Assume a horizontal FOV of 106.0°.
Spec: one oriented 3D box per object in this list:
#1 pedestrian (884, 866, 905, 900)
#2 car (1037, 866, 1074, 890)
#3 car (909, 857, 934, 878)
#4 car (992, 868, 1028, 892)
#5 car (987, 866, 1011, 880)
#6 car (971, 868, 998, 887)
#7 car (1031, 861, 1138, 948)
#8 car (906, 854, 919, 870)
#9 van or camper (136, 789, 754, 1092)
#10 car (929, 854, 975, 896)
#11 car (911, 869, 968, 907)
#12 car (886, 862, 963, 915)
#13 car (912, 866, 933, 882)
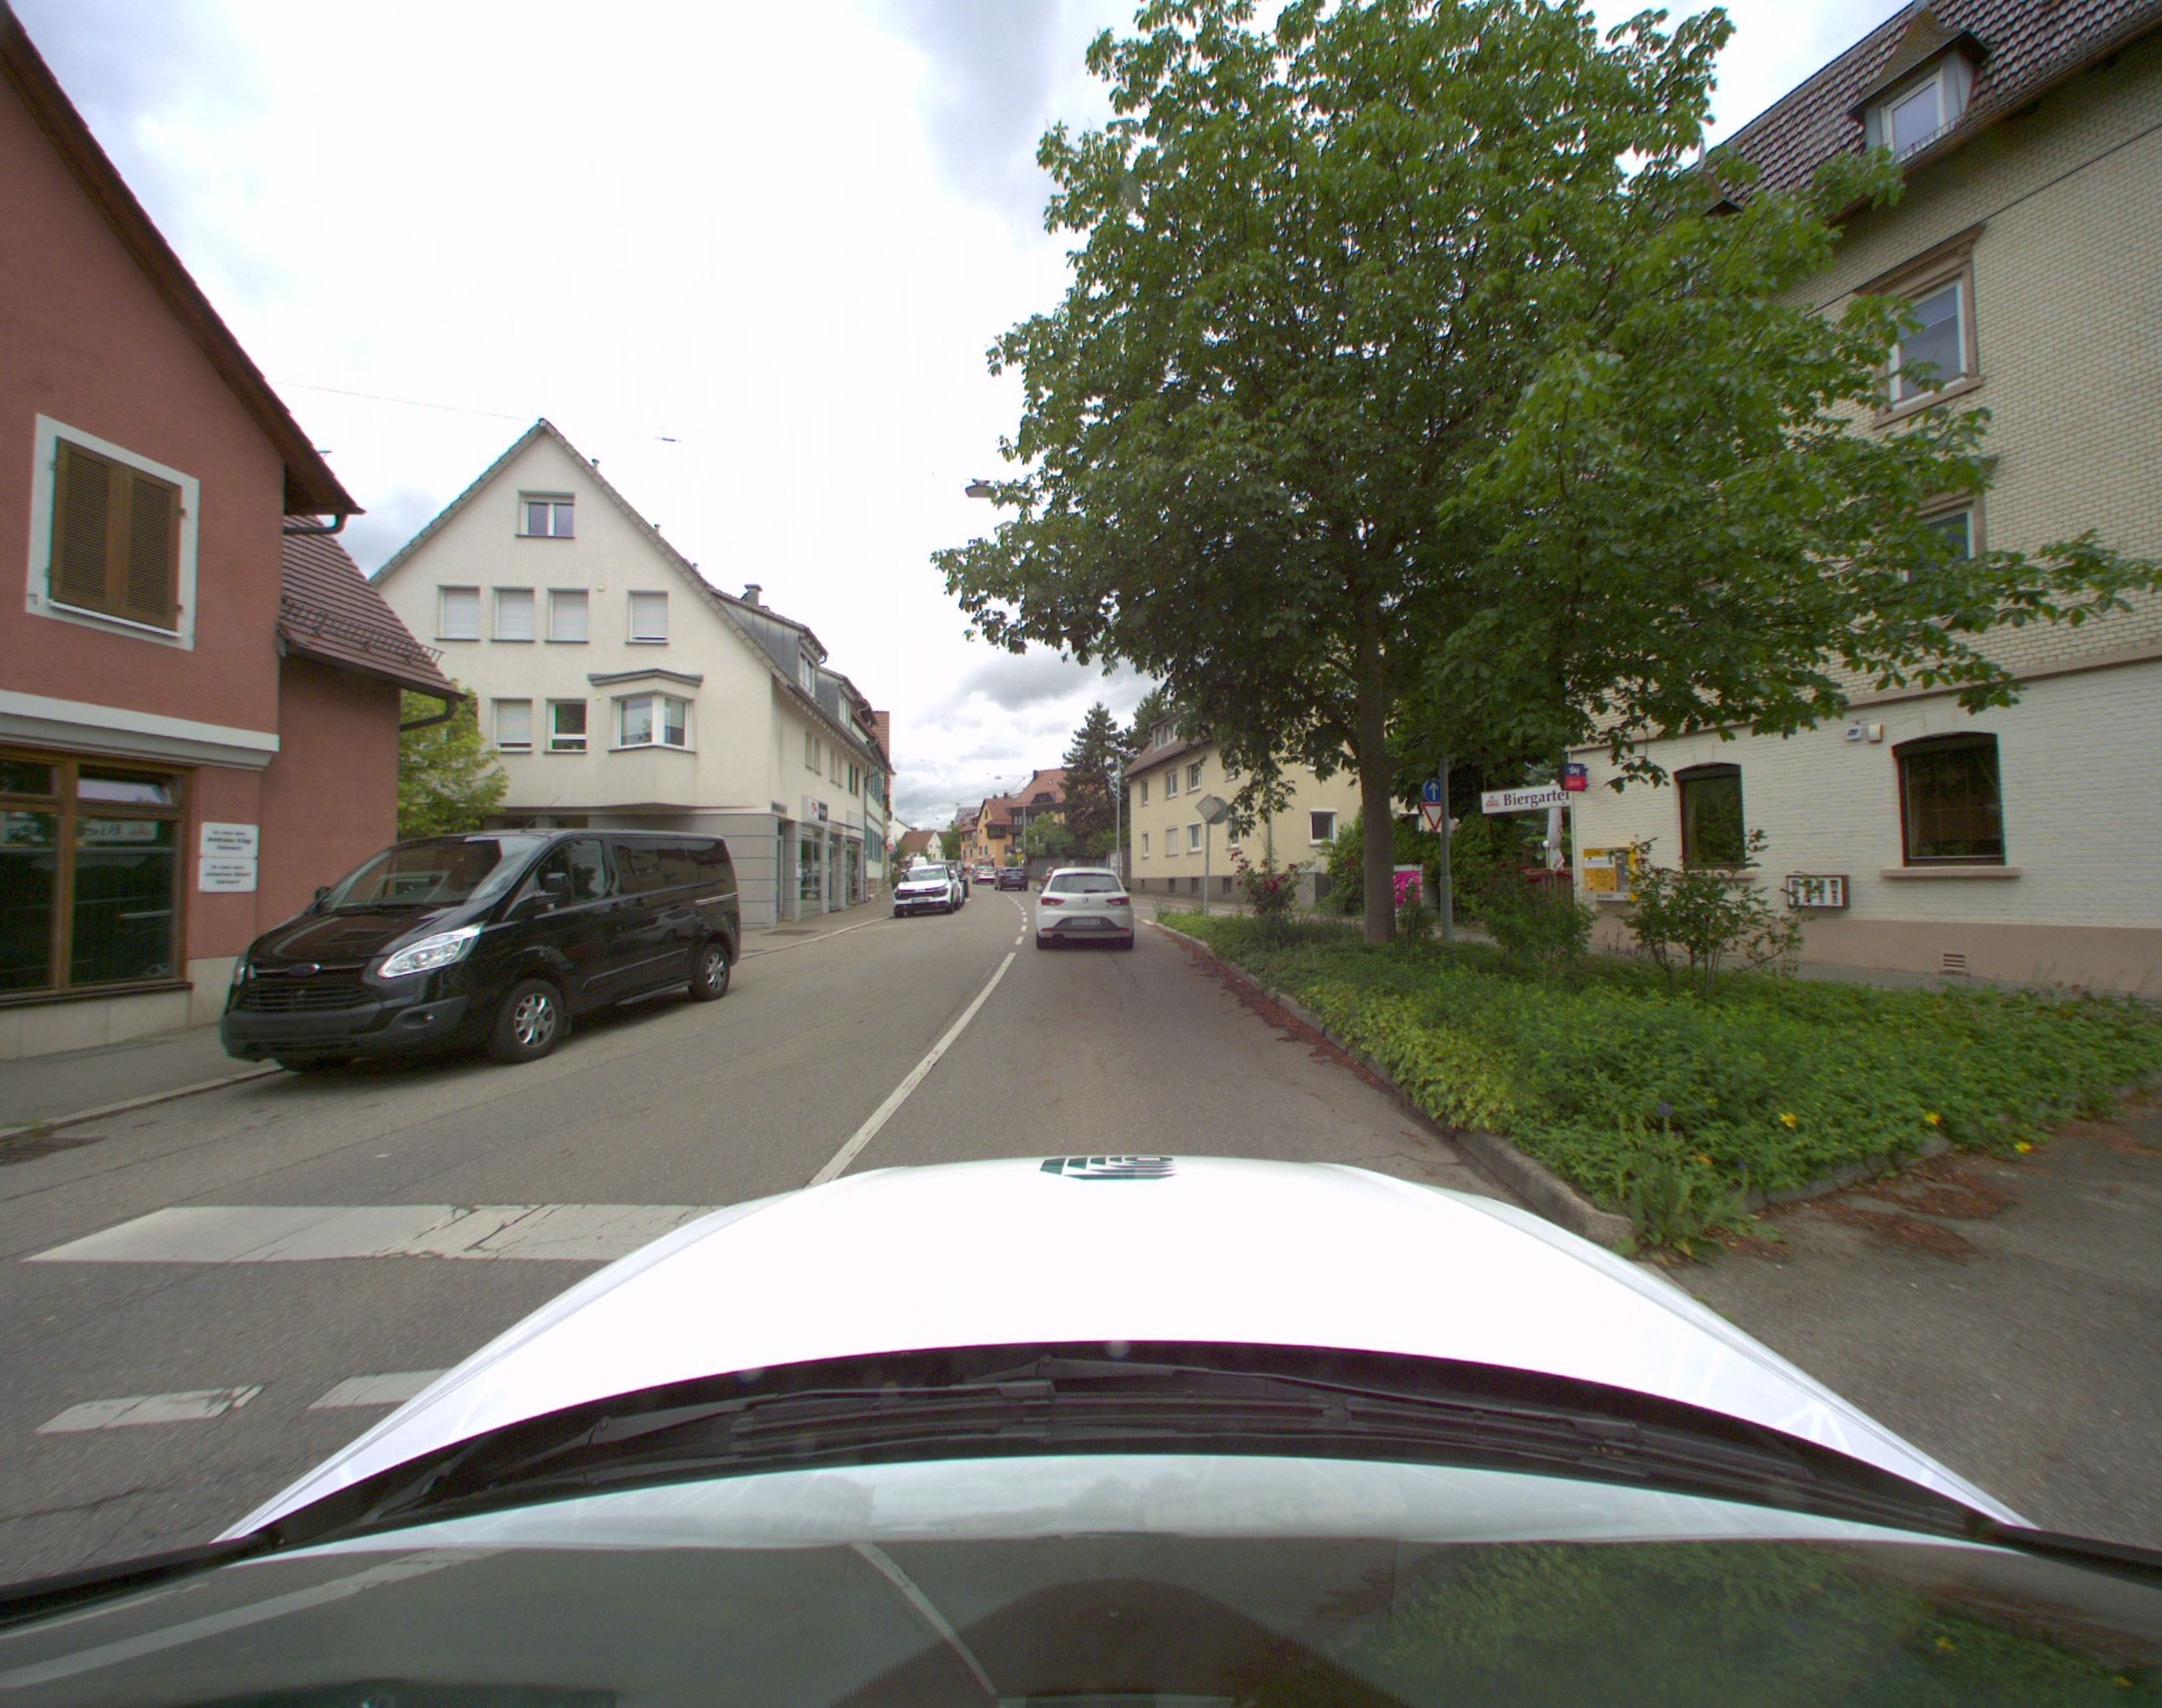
[{"bbox_3d":[-8.493,1.328,37.169,0.805,1.500,0.973,2,-2,-7],"label":"pedestrian"},{"bbox_3d":[-1.688,1.555,53.462,1.759,1.452,3.984,2,-1,-11],"label":"car"},{"bbox_3d":[-20.845,1.760,106.777,2.145,2.687,5.543,1,-1,0],"label":"car"},{"bbox_3d":[-4.401,1.575,50.320,1.760,1.452,3.983,0,-1,-12],"label":"car"},{"bbox_3d":[-8.434,1.917,83.363,1.762,1.452,3.978,0,-1,-16],"label":"car"},{"bbox_3d":[-7.949,1.905,66.952,1.761,1.452,3.980,0,-1,-14],"label":"car"},{"bbox_3d":[-0.059,0.881,15.697,1.755,1.452,3.993,0,-1,-5],"label":"car"},{"bbox_3d":[-29.495,1.330,142.360,2.154,2.687,5.372,1,-1,-12],"label":"car"},{"bbox_3d":[-5.372,0.638,8.030,2.065,2.006,4.861,-2,-1,3],"label":"van or camper"},{"bbox_3d":[-6.712,1.072,42.807,1.991,2.013,4.661,-3,0,-6],"label":"car"},{"bbox_3d":[-5.623,1.320,32.700,1.996,1.436,3.909,1,-1,-7],"label":"car"},{"bbox_3d":[-5.206,1.102,27.750,1.994,1.633,4.849,0,-1,-4],"label":"car"},{"bbox_3d":[-15.991,2.007,82.063,1.801,1.479,4.032,-3,0,-13],"label":"car"}]
